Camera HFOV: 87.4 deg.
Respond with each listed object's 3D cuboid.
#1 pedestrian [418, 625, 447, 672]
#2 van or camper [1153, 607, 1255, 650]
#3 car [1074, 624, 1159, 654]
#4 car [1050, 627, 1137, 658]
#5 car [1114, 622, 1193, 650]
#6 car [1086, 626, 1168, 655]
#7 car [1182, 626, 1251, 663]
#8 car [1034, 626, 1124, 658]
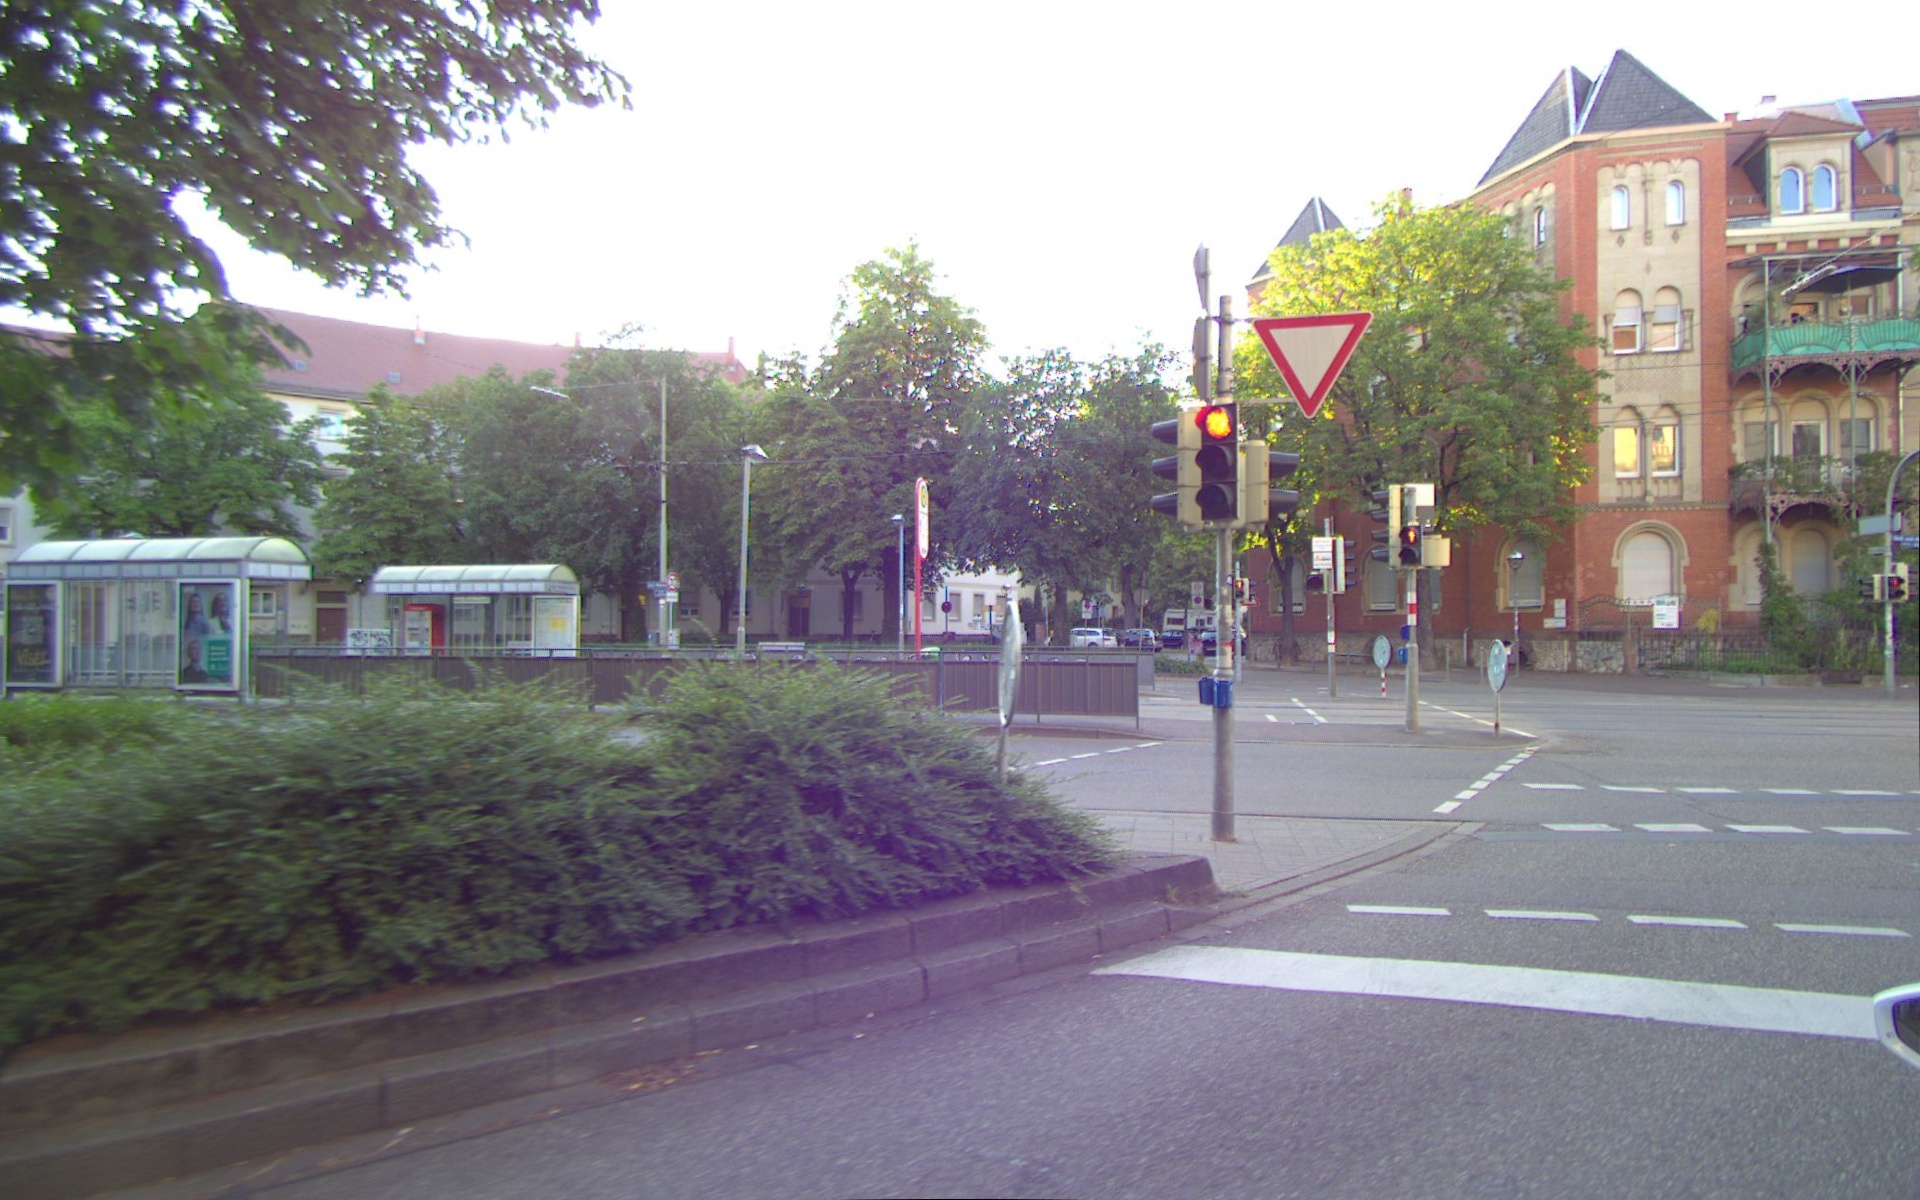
[{"bbox_3d":[-23.800,2.169,45.326,1.049,2.113,1.005,1,-2,-32],"label":"pedestrian"},{"bbox_3d":[19.106,2.202,78.739,7.258,3.124,2.668,1,-1,30],"label":"van or camper"},{"bbox_3d":[9.820,2.446,63.168,4.878,1.726,1.996,1,-1,30],"label":"car"},{"bbox_3d":[8.135,2.565,61.453,4.878,1.726,1.996,1,-1,30],"label":"car"},{"bbox_3d":[13.101,2.411,68.123,4.878,1.726,1.996,1,-1,30],"label":"car"},{"bbox_3d":[10.972,2.661,66.020,4.878,1.726,1.996,1,-1,30],"label":"car"},{"bbox_3d":[12.948,2.220,50.556,1.966,1.726,4.708,1,-1,33],"label":"car"},{"bbox_3d":[7.035,2.459,59.509,4.878,1.726,1.996,1,-1,30],"label":"car"}]
